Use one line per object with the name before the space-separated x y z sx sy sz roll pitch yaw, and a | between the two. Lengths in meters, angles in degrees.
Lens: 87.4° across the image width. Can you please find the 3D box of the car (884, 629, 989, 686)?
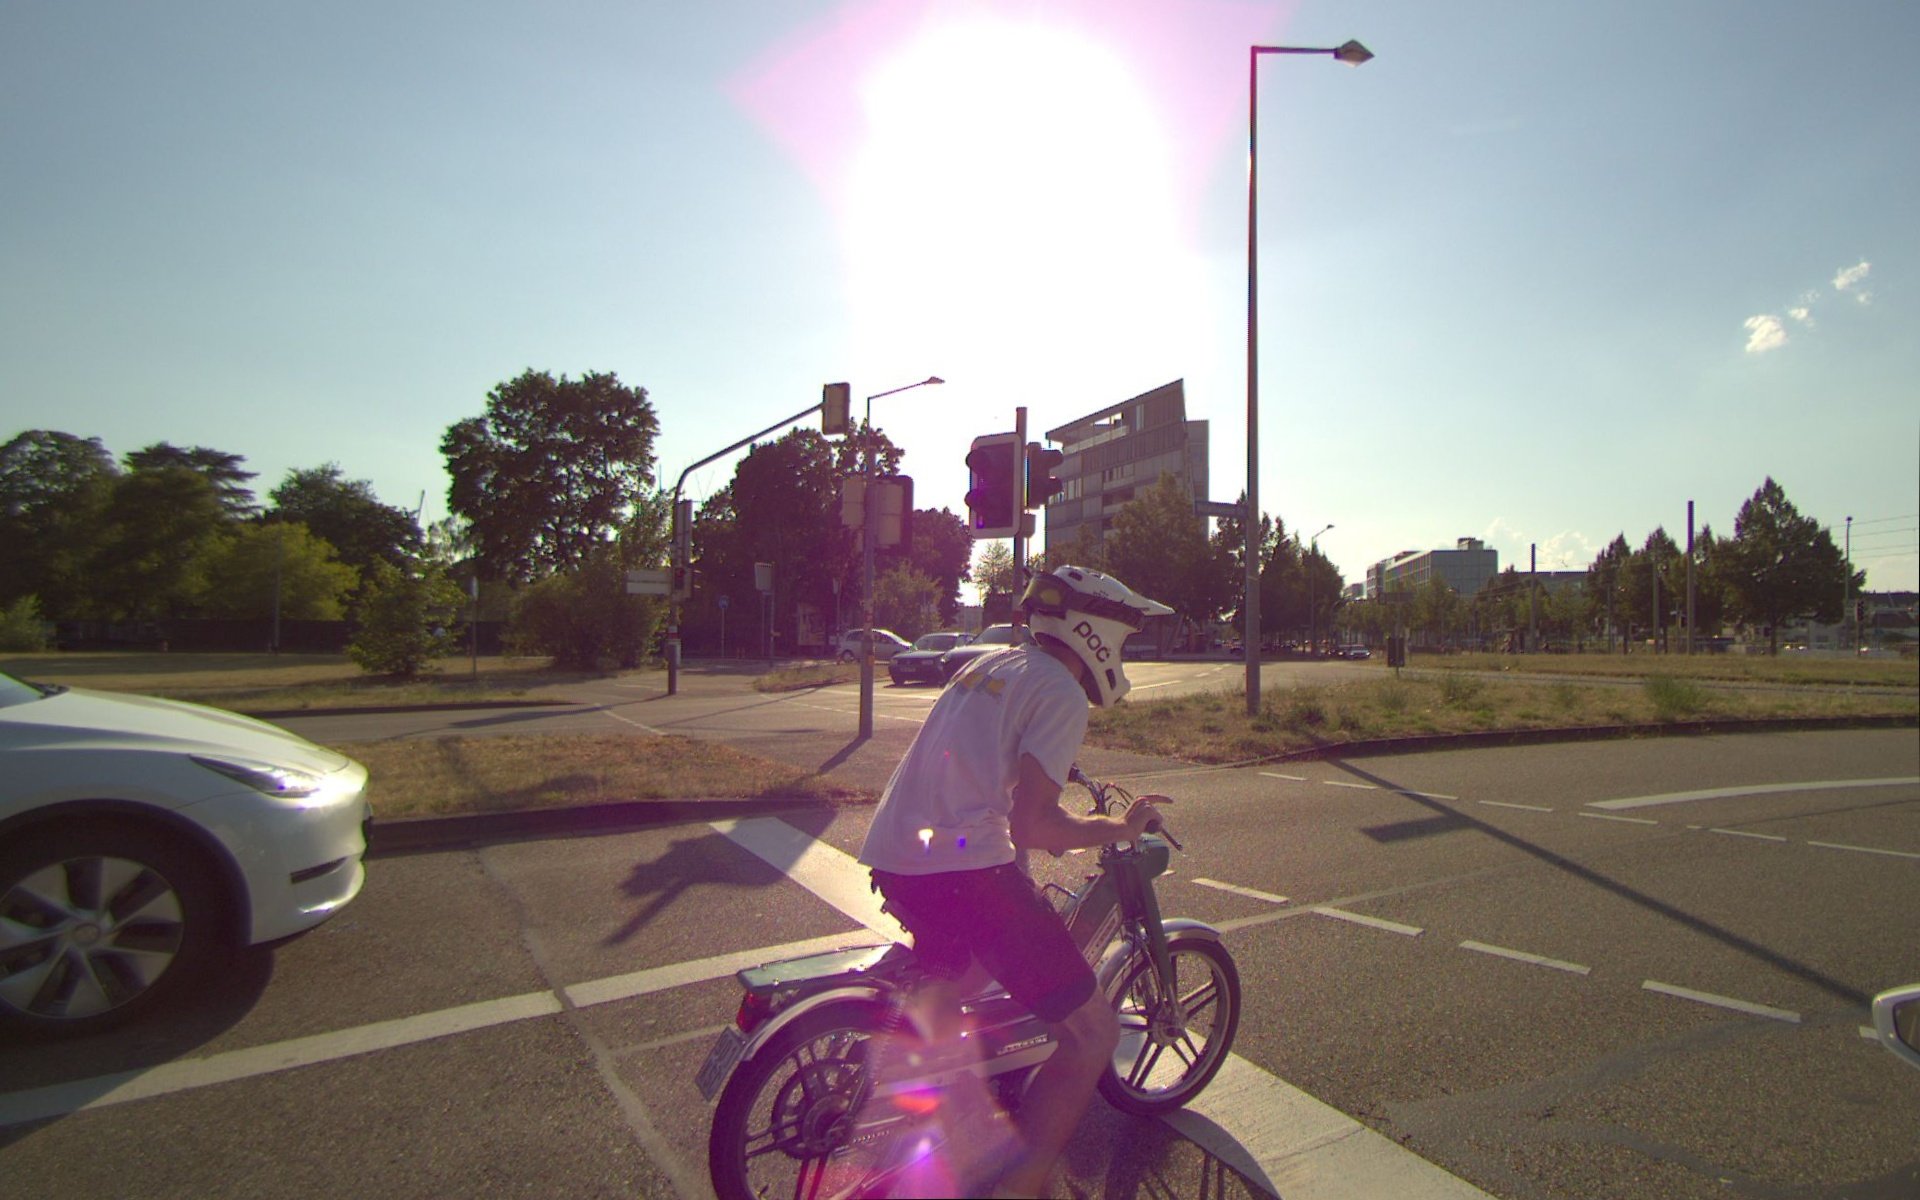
car | -0.614 1.646 29.381 1.621 1.532 3.826 -1 -2 24

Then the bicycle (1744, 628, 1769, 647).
bicycle | 62.185 2.903 78.435 1.521 1.493 0.477 -1 -2 41

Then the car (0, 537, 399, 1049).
car | -4.518 0.582 3.193 4.630 1.620 1.724 2 -1 -35

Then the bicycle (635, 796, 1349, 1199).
bicycle | 0.175 1.048 2.534 1.834 0.887 0.475 1 -2 -31

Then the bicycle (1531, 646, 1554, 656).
bicycle | 48.858 4.267 84.247 1.587 0.871 0.545 0 -2 20

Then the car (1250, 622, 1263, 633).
car | 47.217 4.334 160.241 1.753 1.576 4.002 2 0 14

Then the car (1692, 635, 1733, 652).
car | 89.179 5.132 119.082 1.960 2.040 4.002 0 -2 5

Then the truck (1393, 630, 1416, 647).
truck | 90.687 7.836 204.990 3.074 3.273 7.178 0 -2 14

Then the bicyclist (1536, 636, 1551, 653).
bicyclist | 48.892 3.718 84.217 0.938 1.375 0.694 0 -2 18

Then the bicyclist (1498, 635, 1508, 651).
bicyclist | 45.382 3.605 83.931 0.641 1.343 0.519 0 -1 14

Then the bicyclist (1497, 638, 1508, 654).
bicyclist | 44.844 3.776 83.014 0.641 1.343 0.519 0 -1 14

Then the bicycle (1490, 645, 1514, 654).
bicycle | 45.313 4.157 83.924 1.687 0.754 0.481 0 -2 14

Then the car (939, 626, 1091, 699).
car | 1.414 1.410 23.585 1.624 1.532 4.635 -2 -3 30

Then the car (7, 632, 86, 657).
car | -59.751 2.885 65.729 4.312 1.545 1.658 0 -2 13

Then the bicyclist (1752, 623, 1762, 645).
bicyclist | 62.239 2.669 78.395 0.599 1.694 0.476 0 -2 40

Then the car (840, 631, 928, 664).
car | -3.666 2.280 48.615 3.864 1.545 1.657 0 -2 16

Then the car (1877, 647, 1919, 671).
car | 74.883 4.615 78.787 3.928 1.840 1.997 -1 -2 29

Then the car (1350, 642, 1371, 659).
car | 36.644 4.567 91.905 1.455 1.495 3.301 0 -2 17

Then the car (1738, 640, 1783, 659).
car | 88.339 5.474 110.840 1.960 2.040 4.002 0 -2 5

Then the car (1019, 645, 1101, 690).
car | 4.110 2.754 41.916 1.750 1.695 4.180 1 -2 -20

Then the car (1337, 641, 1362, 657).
car | 38.371 4.776 99.034 1.960 1.495 4.002 0 -2 17

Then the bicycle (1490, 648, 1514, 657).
bicycle | 44.776 4.322 82.987 1.687 0.754 0.481 0 -2 14

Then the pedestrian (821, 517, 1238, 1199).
pedestrian | 0.165 0.614 2.565 0.844 1.539 0.653 1 -2 -30
